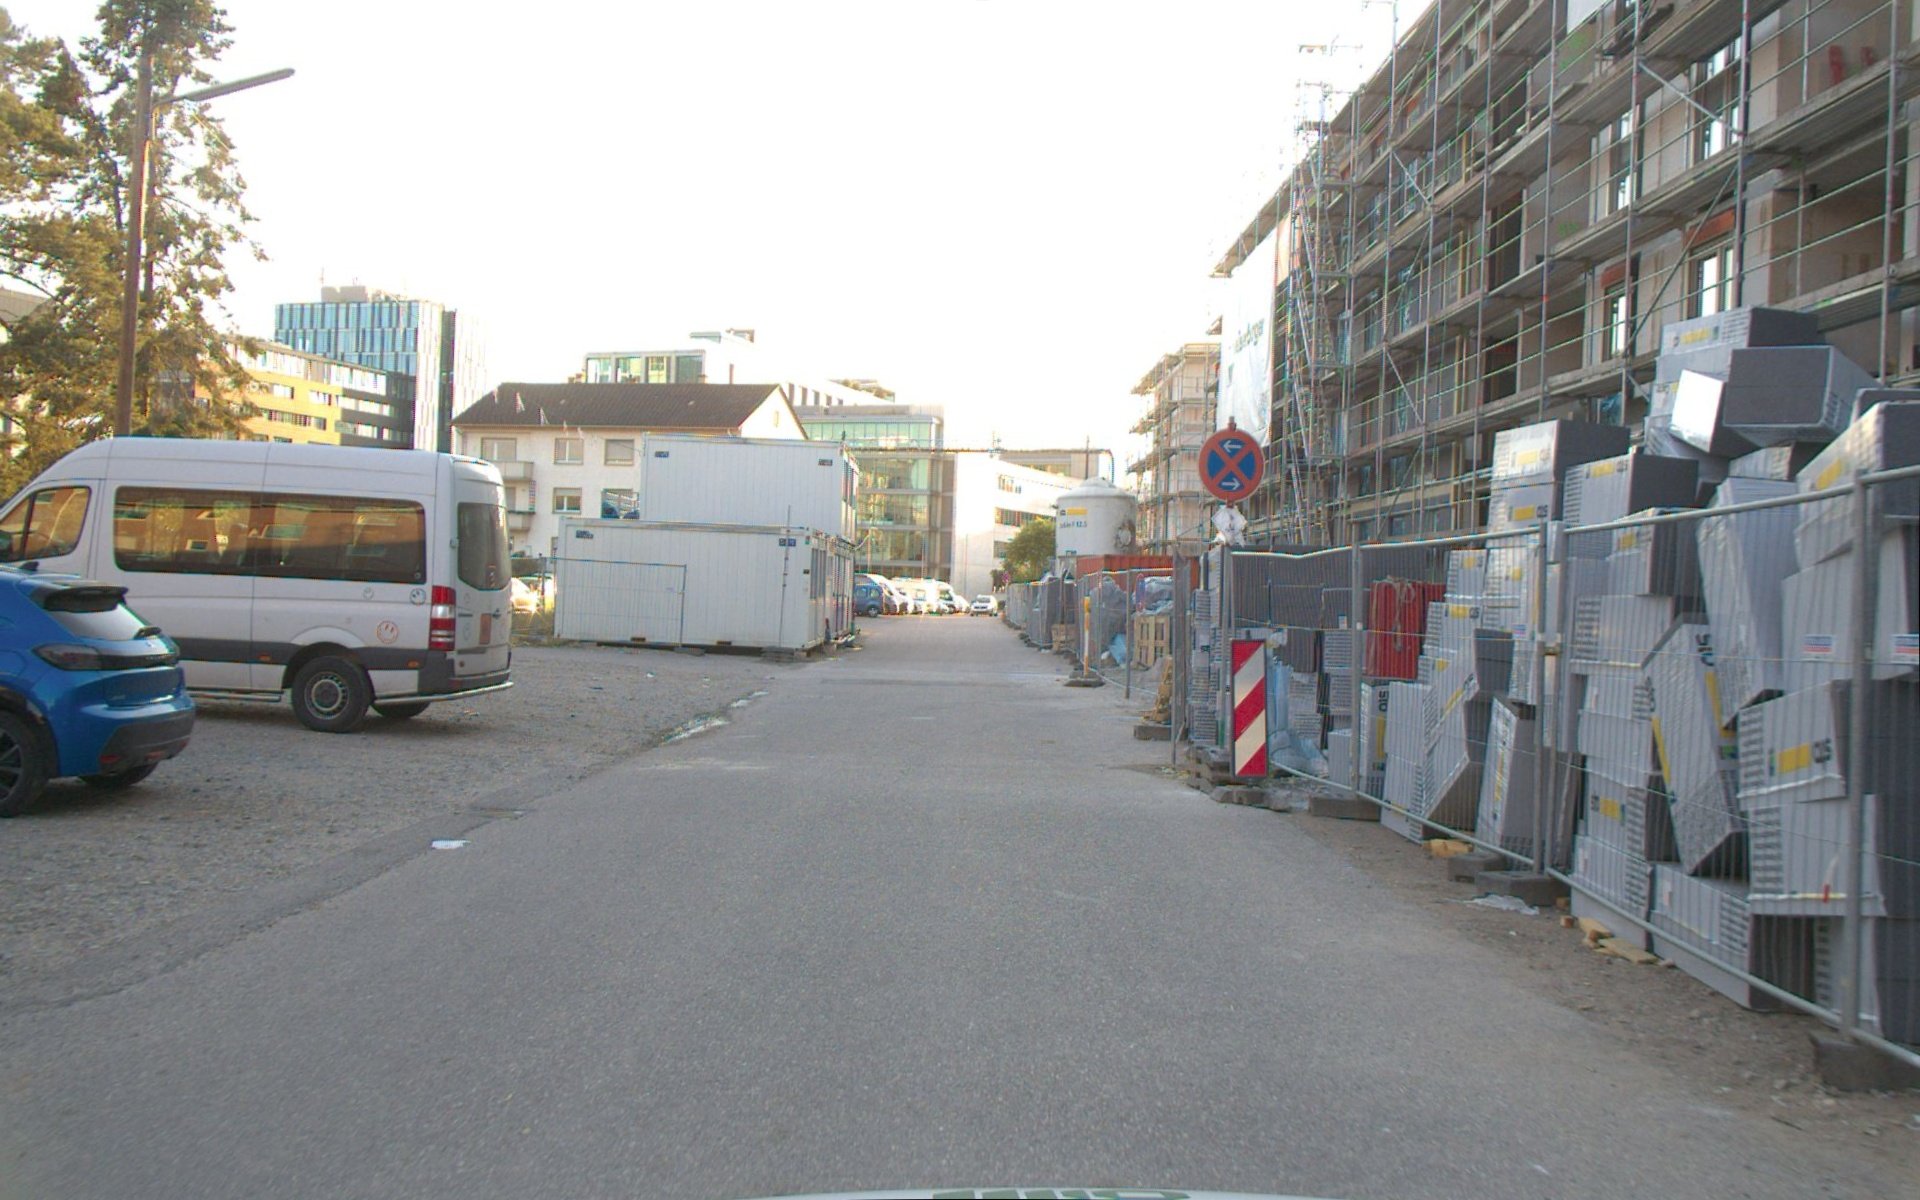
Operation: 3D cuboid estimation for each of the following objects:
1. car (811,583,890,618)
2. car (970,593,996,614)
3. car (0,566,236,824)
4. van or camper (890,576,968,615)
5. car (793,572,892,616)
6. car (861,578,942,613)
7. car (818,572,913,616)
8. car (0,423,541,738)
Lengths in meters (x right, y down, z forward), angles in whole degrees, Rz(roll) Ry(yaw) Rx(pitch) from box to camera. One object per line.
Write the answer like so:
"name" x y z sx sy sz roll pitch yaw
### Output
"car" -6.253 0.026 93.996 4.416 1.901 1.998 1 0 -6
"car" 1.853 0.277 130.459 1.629 1.555 3.913 1 0 7
"car" -6.837 0.477 10.365 3.760 1.454 1.727 3 0 -3
"van or camper" -2.613 -0.353 140.807 6.198 3.031 2.294 2 0 12
"car" -7.655 -0.368 107.974 6.198 2.697 2.000 1 0 0
"car" -4.487 -0.315 127.019 5.797 2.533 2.002 1 0 11
"car" -6.368 -0.433 111.746 6.198 2.789 2.000 1 0 0
"car" -7.281 -0.208 16.314 5.571 2.672 2.222 3 0 1
